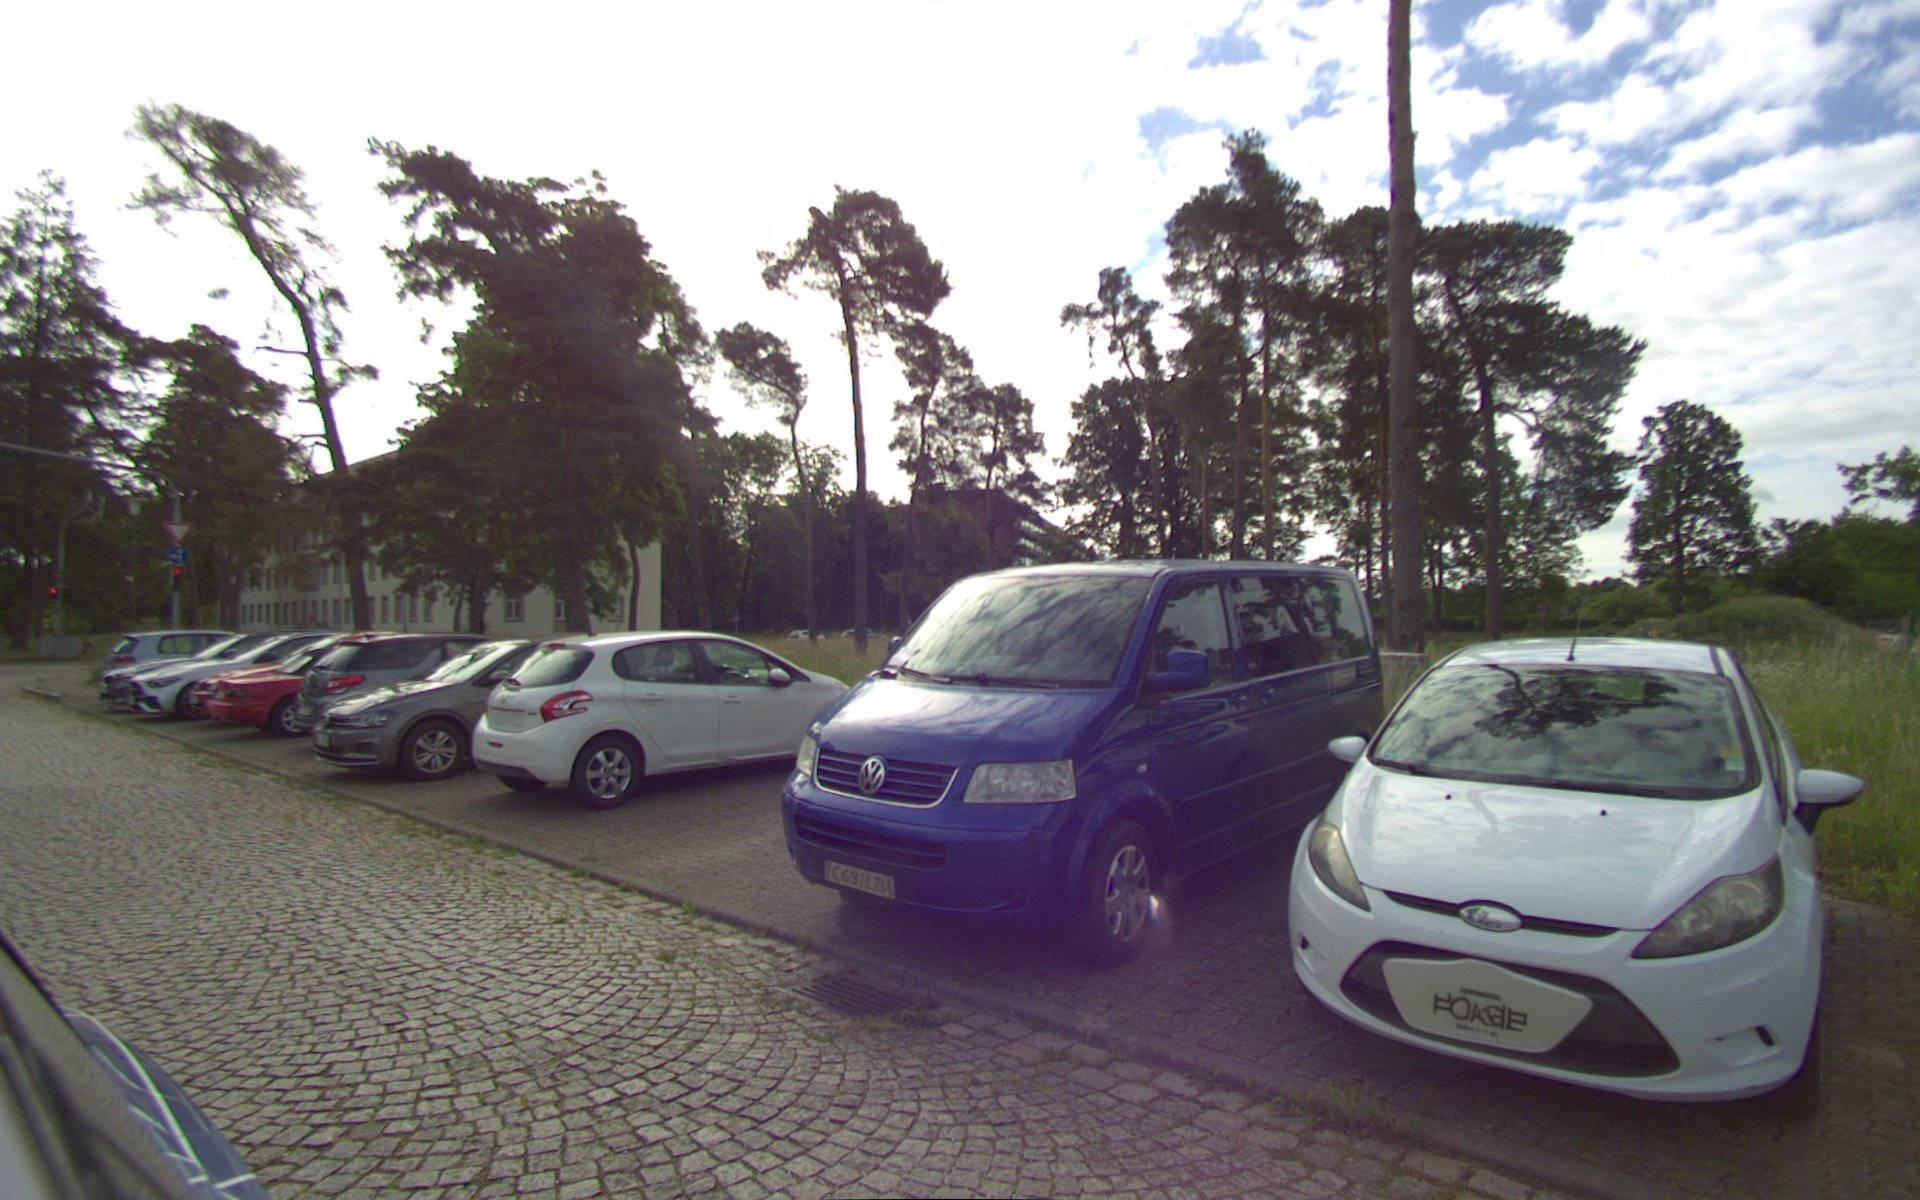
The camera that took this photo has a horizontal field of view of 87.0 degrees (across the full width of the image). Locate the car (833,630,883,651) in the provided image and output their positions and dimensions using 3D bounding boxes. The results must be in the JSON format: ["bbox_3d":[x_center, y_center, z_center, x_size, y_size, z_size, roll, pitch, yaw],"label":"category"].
[{"bbox_3d":[-8.457,3.368,84.434,1.717,1.622,4.000,0,-1,43],"label":"car"}]

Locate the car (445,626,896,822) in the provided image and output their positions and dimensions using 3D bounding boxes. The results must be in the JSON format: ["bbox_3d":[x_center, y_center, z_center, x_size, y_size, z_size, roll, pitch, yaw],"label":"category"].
[{"bbox_3d":[-2.703,1.044,10.090,1.842,1.513,3.961,-2,-2,43],"label":"car"}]

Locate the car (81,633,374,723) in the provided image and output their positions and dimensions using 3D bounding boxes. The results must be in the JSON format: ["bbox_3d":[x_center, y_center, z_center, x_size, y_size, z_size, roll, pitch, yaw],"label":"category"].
[{"bbox_3d":[-14.632,1.464,20.445,1.868,1.549,4.458,-1,-1,38],"label":"car"}]

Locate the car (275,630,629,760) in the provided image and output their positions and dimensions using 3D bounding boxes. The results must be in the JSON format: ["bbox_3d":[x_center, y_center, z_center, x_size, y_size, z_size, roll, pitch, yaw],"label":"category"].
[{"bbox_3d":[-6.885,1.194,14.034,1.755,1.492,4.044,-2,-2,42],"label":"car"}]

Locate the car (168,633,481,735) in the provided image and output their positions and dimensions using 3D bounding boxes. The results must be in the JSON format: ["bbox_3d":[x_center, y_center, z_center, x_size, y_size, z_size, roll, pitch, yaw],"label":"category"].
[{"bbox_3d":[-10.726,1.332,17.329,1.854,1.466,4.209,-2,-2,41],"label":"car"}]

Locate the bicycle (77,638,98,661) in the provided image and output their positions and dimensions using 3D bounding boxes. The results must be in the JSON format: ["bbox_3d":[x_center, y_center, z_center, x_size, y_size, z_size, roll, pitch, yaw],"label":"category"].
[{"bbox_3d":[-41.912,2.370,48.616,1.415,1.082,0.491,-1,0,39],"label":"bicycle"}]

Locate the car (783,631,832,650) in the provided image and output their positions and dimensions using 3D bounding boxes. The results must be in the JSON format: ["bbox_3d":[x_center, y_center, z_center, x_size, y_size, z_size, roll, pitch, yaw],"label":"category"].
[{"bbox_3d":[-13.532,3.588,89.873,1.718,1.622,3.998,0,-1,45],"label":"car"}]

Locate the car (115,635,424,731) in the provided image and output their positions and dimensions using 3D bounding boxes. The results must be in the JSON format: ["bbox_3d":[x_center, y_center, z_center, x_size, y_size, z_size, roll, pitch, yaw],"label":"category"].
[{"bbox_3d":[-12.604,1.426,18.686,1.949,1.466,4.389,-1,-1,42],"label":"car"}]

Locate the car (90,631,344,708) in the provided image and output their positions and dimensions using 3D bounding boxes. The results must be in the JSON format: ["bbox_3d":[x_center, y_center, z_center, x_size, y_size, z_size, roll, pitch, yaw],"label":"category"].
[{"bbox_3d":[-16.368,1.455,22.451,1.827,1.481,4.282,-1,-1,42],"label":"car"}]

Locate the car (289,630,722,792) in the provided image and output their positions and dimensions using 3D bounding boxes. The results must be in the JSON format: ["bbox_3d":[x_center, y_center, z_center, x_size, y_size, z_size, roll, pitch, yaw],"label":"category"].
[{"bbox_3d":[-5.066,1.121,11.737,1.731,1.492,4.257,-2,-2,43],"label":"car"}]

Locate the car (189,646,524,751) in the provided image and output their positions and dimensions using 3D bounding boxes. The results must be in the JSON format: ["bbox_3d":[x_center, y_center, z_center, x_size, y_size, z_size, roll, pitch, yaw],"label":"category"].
[{"bbox_3d":[-9.112,1.405,15.550,1.763,1.293,4.088,-2,-2,41],"label":"car"}]

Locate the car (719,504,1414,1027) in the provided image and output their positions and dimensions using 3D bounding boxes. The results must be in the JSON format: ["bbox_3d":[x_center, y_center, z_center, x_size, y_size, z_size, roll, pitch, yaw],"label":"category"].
[{"bbox_3d":[1.034,0.686,6.328,2.037,1.996,4.661,-2,-2,40],"label":"car"}]

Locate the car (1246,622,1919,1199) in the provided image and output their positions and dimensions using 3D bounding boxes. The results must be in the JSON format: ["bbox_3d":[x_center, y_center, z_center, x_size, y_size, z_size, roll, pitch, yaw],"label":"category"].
[{"bbox_3d":[2.871,0.867,4.515,1.724,1.505,3.756,-2,-2,39],"label":"car"}]
